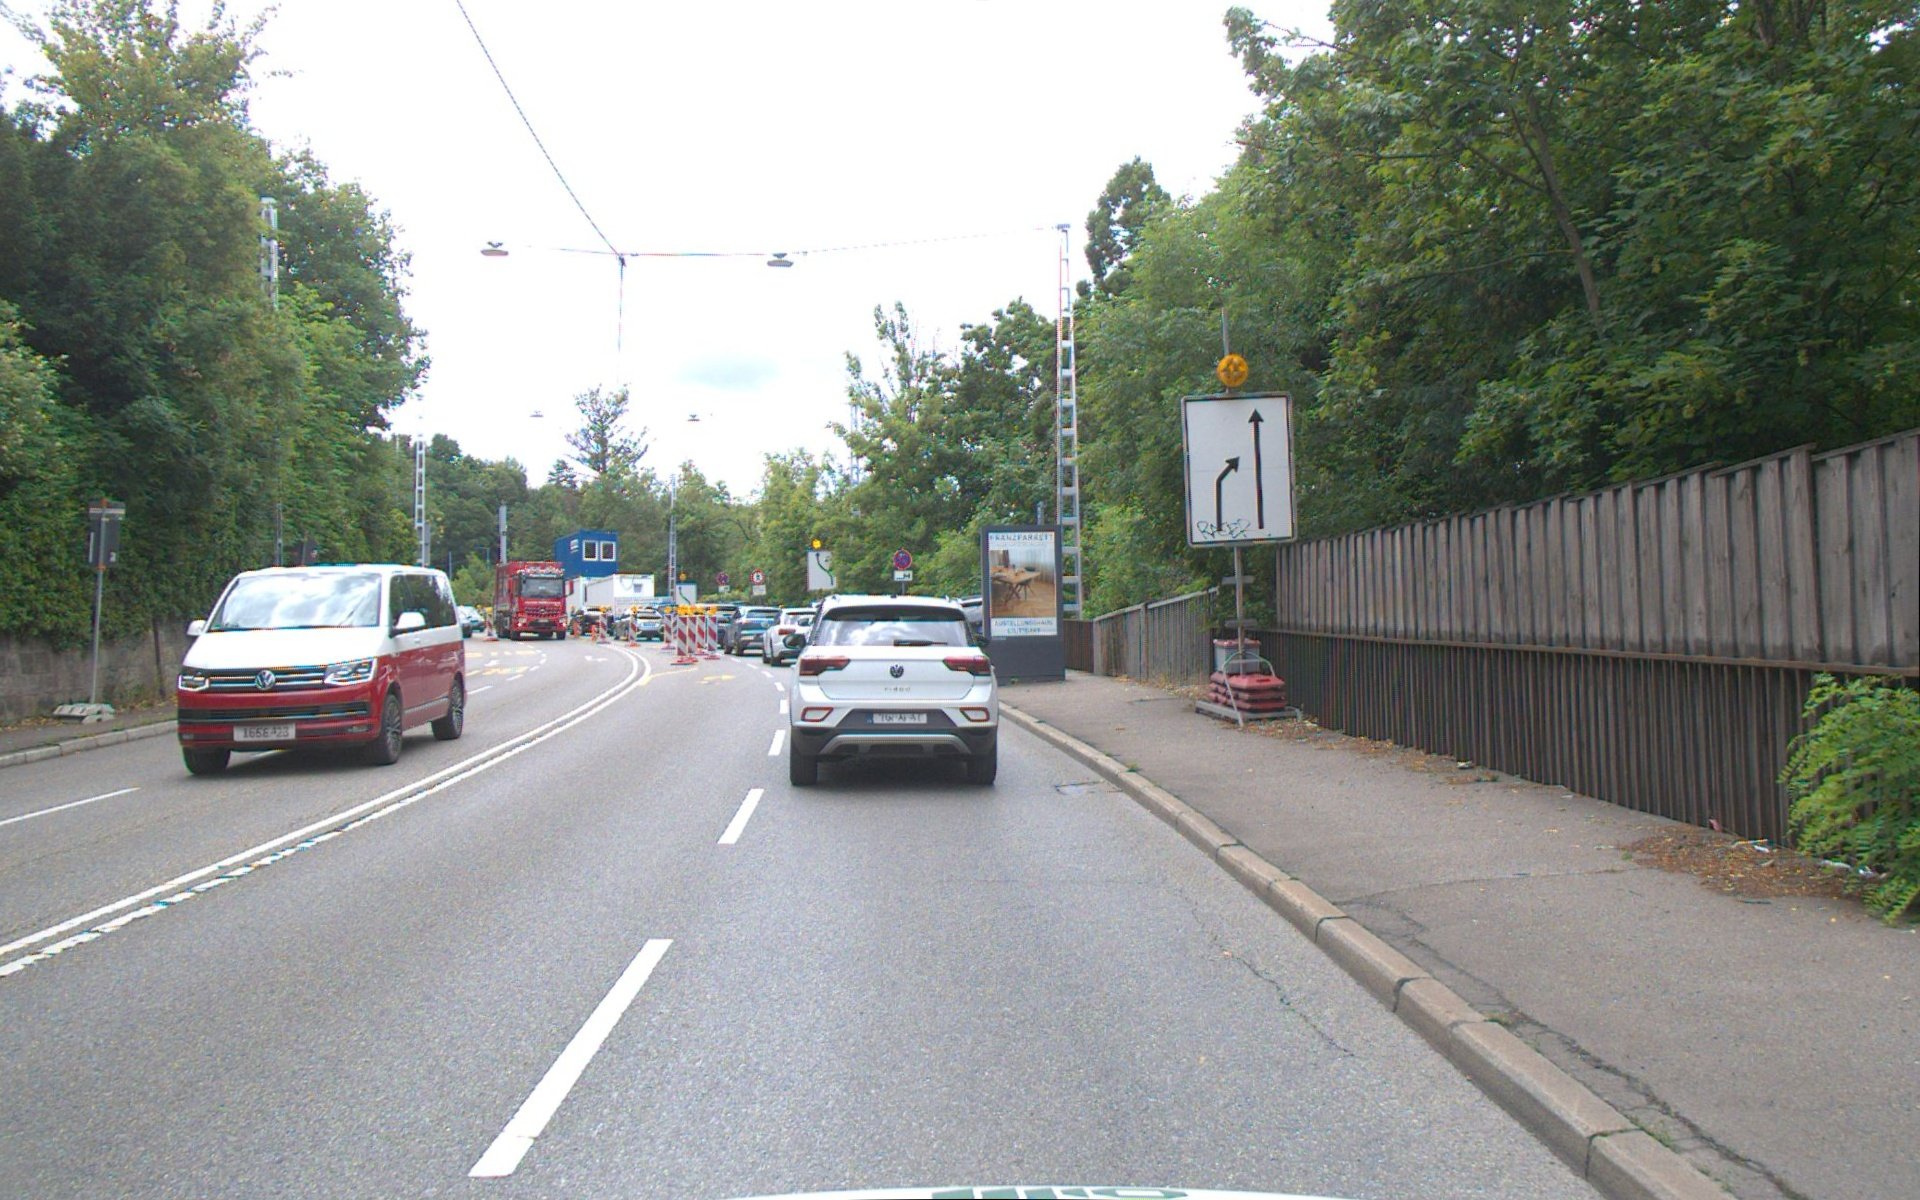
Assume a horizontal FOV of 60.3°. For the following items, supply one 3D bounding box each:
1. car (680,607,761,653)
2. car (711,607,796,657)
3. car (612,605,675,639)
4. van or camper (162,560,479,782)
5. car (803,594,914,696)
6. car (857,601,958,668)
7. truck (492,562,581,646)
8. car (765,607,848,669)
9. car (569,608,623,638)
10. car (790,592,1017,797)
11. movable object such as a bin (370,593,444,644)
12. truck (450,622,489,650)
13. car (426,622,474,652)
[{"bbox_3d":[-9.051,1.096,62.167,1.968,1.583,4.119,-1,0,-24],"label":"car"},{"bbox_3d":[-6.694,1.044,53.233,1.963,1.439,4.129,-2,-1,-18],"label":"car"},{"bbox_3d":[-14.469,1.021,75.493,1.967,1.475,4.119,-1,-1,-24],"label":"car"},{"bbox_3d":[-6.429,0.646,17.237,1.853,1.911,4.758,-2,0,-6],"label":"van or camper"},{"bbox_3d":[-1.816,0.738,28.708,1.724,1.638,3.790,0,0,-7],"label":"car"},{"bbox_3d":[-1.453,0.885,43.679,1.777,1.488,4.180,-6,1,-13],"label":"car"},{"bbox_3d":[-20.554,0.226,79.913,2.904,3.762,9.853,-2,0,-21],"label":"truck"},{"bbox_3d":[-4.012,0.948,42.734,1.726,1.497,3.784,0,0,-12],"label":"car"},{"bbox_3d":[-18.864,1.219,85.703,1.967,1.475,4.120,-1,-1,-24],"label":"car"},{"bbox_3d":[-0.628,0.743,14.846,1.724,1.583,3.790,0,0,-7],"label":"car"},{"bbox_3d":[-42.487,1.412,126.946,3.501,3.764,7.406,-1,0,-34],"label":"movable object such as a bin"},{"bbox_3d":[-28.365,2.079,95.561,1.641,1.468,3.996,-2,0,-24],"label":"truck"},{"bbox_3d":[-25.671,1.853,83.221,1.870,1.406,3.971,-2,0,-23],"label":"car"}]
